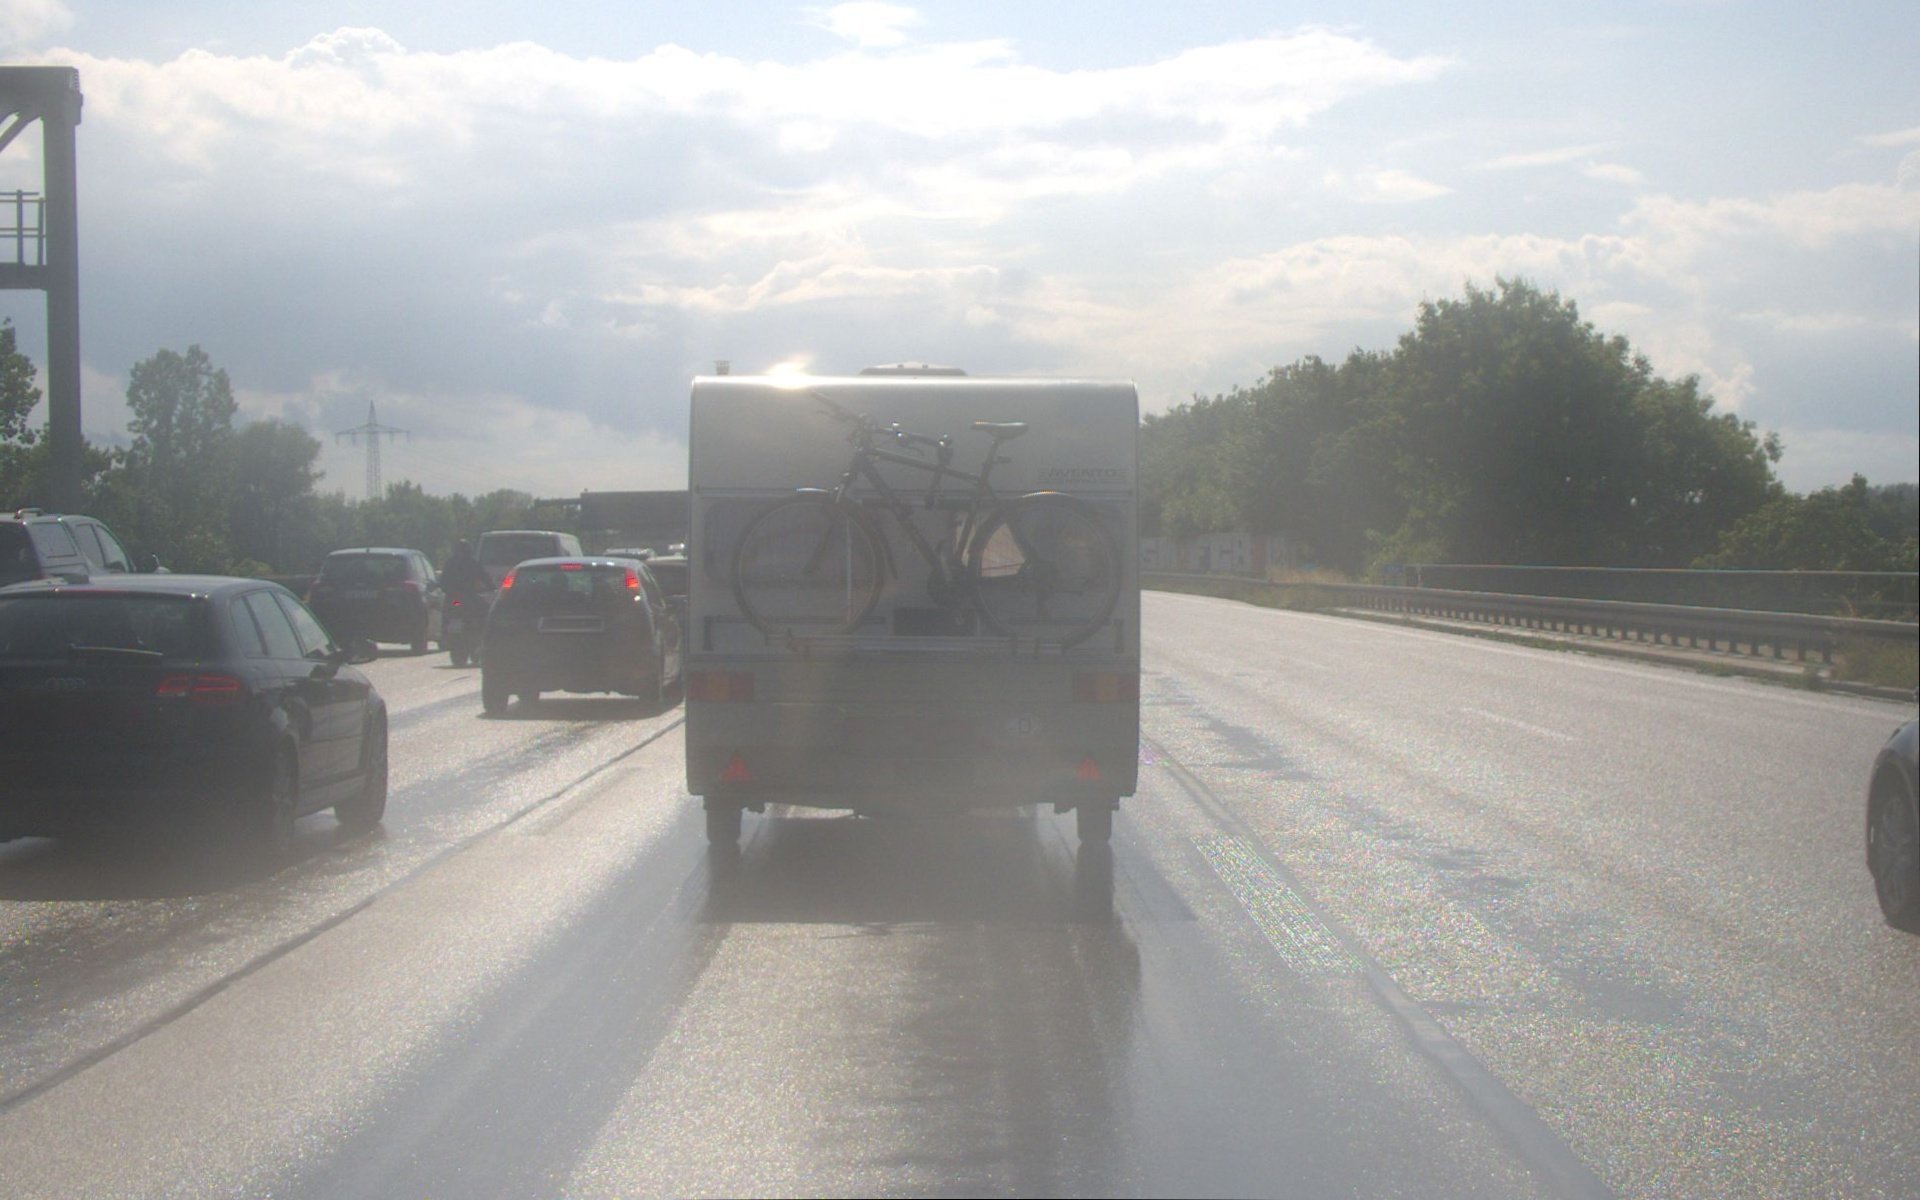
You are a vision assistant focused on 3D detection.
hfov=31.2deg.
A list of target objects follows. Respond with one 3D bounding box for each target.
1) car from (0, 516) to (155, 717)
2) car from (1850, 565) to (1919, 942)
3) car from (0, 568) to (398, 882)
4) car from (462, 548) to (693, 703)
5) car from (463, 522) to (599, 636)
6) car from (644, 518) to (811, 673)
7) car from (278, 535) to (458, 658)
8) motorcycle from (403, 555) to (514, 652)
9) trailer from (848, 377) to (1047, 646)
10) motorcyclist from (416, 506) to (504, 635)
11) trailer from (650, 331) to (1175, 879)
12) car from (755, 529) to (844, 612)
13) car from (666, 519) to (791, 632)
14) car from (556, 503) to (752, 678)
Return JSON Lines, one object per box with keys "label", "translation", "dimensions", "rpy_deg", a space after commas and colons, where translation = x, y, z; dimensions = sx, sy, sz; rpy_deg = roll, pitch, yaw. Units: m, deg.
{"label": "car", "translation": [-8.755, 0.110, 31.323], "dimensions": [1.993, 1.714, 4.000], "rpy_deg": [1, 1, -2]}
{"label": "car", "translation": [4.617, 0.607, 12.049], "dimensions": [1.854, 1.437, 4.258], "rpy_deg": [0, 1, -1]}
{"label": "car", "translation": [-4.060, 0.540, 17.376], "dimensions": [1.757, 1.382, 3.945], "rpy_deg": [0, 1, 1]}
{"label": "car", "translation": [-3.673, 0.216, 33.611], "dimensions": [1.806, 1.402, 4.000], "rpy_deg": [1, 1, 0]}
{"label": "car", "translation": [-8.258, -0.416, 66.446], "dimensions": [1.993, 2.007, 4.000], "rpy_deg": [4, 1, 0]}
{"label": "car", "translation": [-3.302, -0.091, 49.493], "dimensions": [1.993, 2.007, 4.000], "rpy_deg": [4, 1, 0]}
{"label": "car", "translation": [-8.928, -0.076, 52.173], "dimensions": [1.993, 1.766, 4.000], "rpy_deg": [1, 1, 0]}
{"label": "motorcycle", "translation": [-6.699, 0.030, 46.082], "dimensions": [1.074, 1.267, 2.690], "rpy_deg": [0, 1, 0]}
{"label": "trailer", "translation": [-0.090, -1.422, 57.614], "dimensions": [3.007, 4.152, 8.536], "rpy_deg": [1, 1, 2]}
{"label": "motorcyclist", "translation": [-6.702, -0.401, 46.127], "dimensions": [1.064, 1.712, 0.785], "rpy_deg": [0, 0, 0]}
{"label": "trailer", "translation": [-0.249, -0.007, 18.997], "dimensions": [2.374, 2.475, 6.523], "rpy_deg": [1, 1, -1]}
{"label": "car", "translation": [-3.960, -0.735, 85.376], "dimensions": [1.993, 2.007, 4.000], "rpy_deg": [0, 1, 0]}
{"label": "car", "translation": [-4.307, -0.468, 64.472], "dimensions": [1.993, 2.007, 4.000], "rpy_deg": [2, 1, 0]}
{"label": "car", "translation": [-3.686, -0.135, 42.006], "dimensions": [1.993, 2.007, 4.000], "rpy_deg": [1, 1, 0]}
